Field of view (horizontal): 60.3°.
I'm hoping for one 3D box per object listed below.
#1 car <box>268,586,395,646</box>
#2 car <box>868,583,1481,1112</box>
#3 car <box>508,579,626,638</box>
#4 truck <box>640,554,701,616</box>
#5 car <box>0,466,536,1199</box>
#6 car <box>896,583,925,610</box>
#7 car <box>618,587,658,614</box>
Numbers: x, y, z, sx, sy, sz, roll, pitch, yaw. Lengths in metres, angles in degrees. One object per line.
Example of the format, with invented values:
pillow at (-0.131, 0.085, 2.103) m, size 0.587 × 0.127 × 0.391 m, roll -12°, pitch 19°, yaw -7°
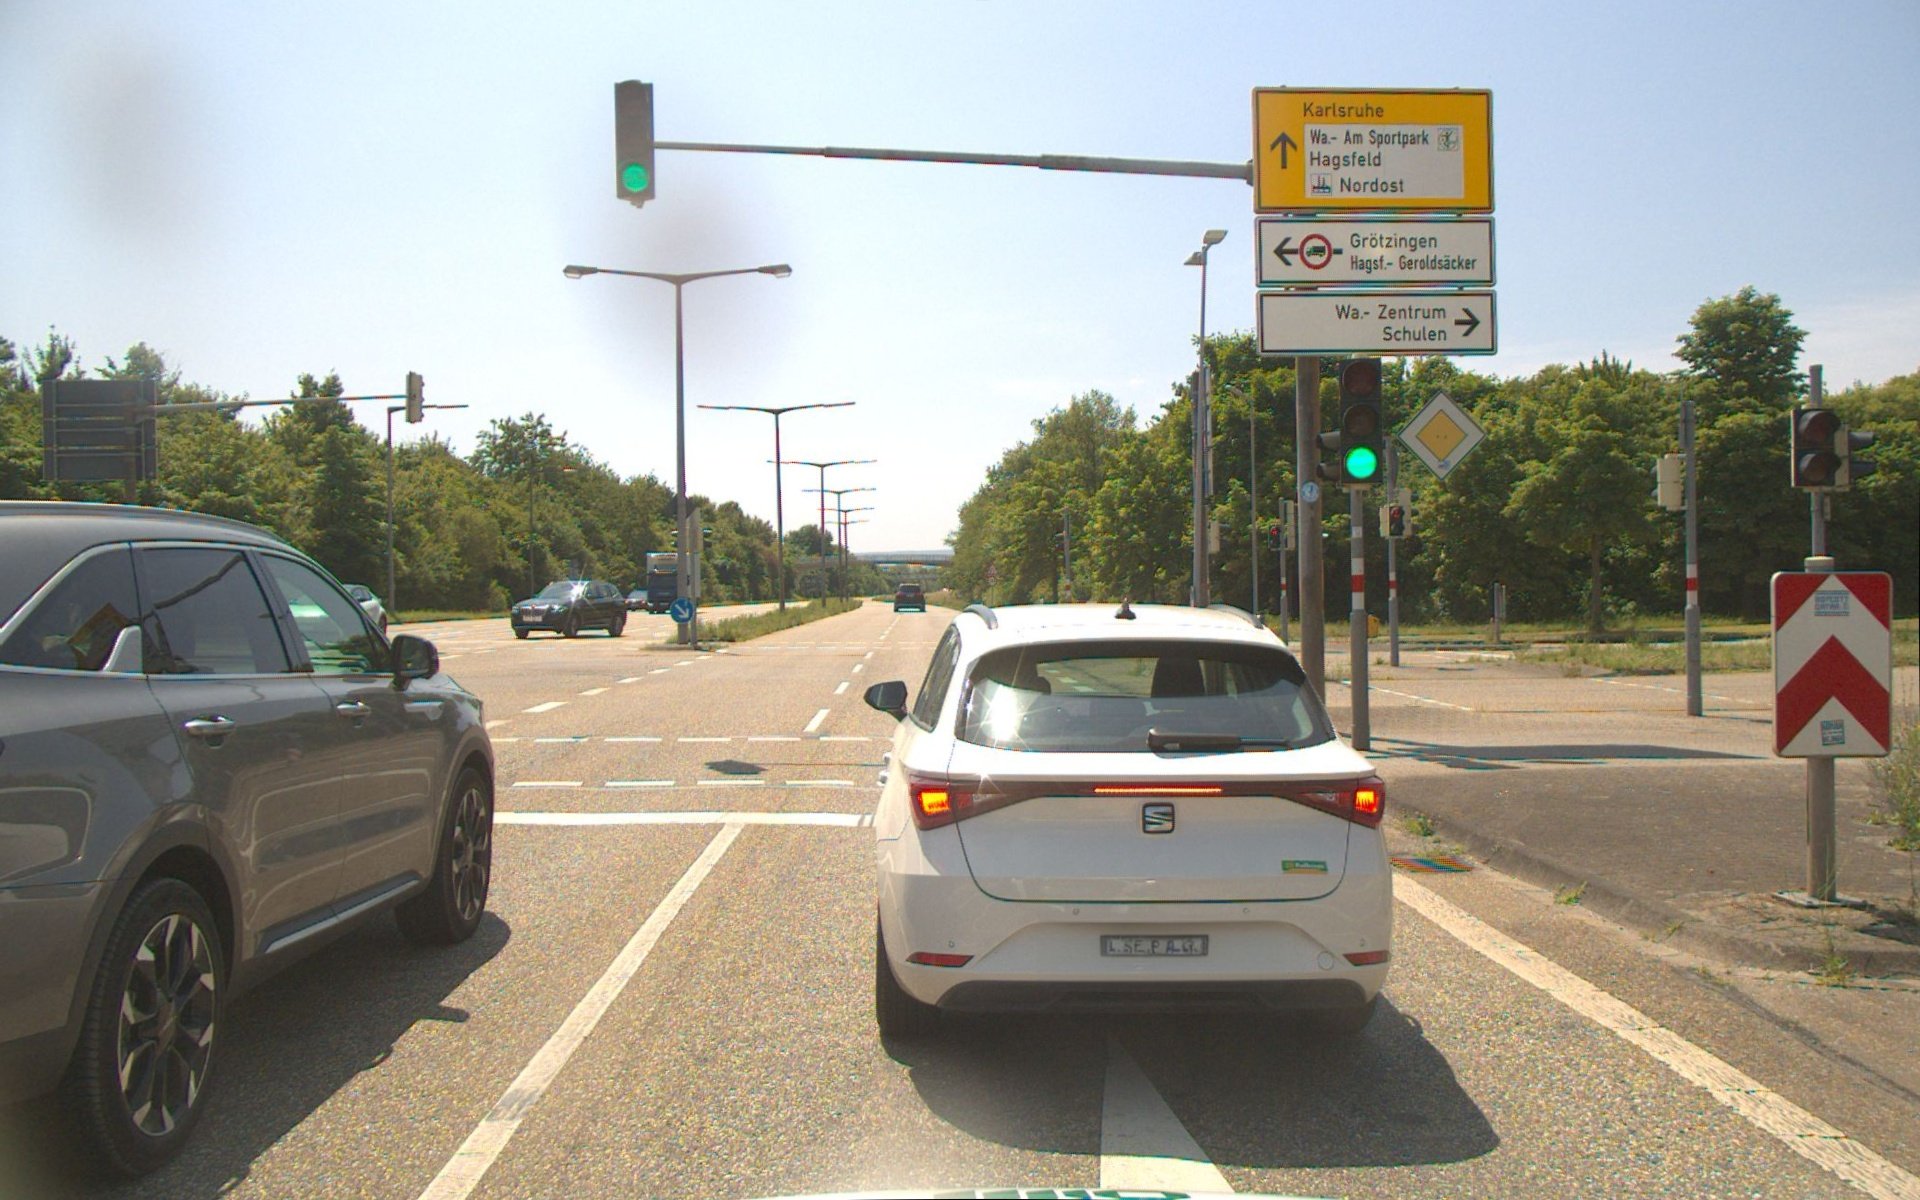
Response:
car at (-16.341, 0.375, 43.220) m, size 1.785 × 1.481 × 4.168 m, roll -1°, pitch 1°, yaw -1°
car at (0.578, 0.703, 6.472) m, size 1.699 × 1.453 × 3.693 m, roll 1°, pitch 0°, yaw -1°
car at (-11.795, 0.218, 49.935) m, size 1.670 × 1.692 × 4.226 m, roll -1°, pitch 1°, yaw 14°
truck at (-17.648, -0.933, 101.272) m, size 2.633 × 3.633 × 7.266 m, roll 0°, pitch 1°, yaw -1°
car at (-2.857, 0.575, 5.453) m, size 1.767 × 1.691 × 4.643 m, roll -1°, pitch 0°, yaw -1°
car at (-3.283, -0.231, 109.781) m, size 1.817 × 1.738 × 3.999 m, roll -1°, pitch 1°, yaw -1°
car at (-21.719, 0.032, 111.605) m, size 1.785 × 1.762 × 4.925 m, roll -1°, pitch 1°, yaw -1°
